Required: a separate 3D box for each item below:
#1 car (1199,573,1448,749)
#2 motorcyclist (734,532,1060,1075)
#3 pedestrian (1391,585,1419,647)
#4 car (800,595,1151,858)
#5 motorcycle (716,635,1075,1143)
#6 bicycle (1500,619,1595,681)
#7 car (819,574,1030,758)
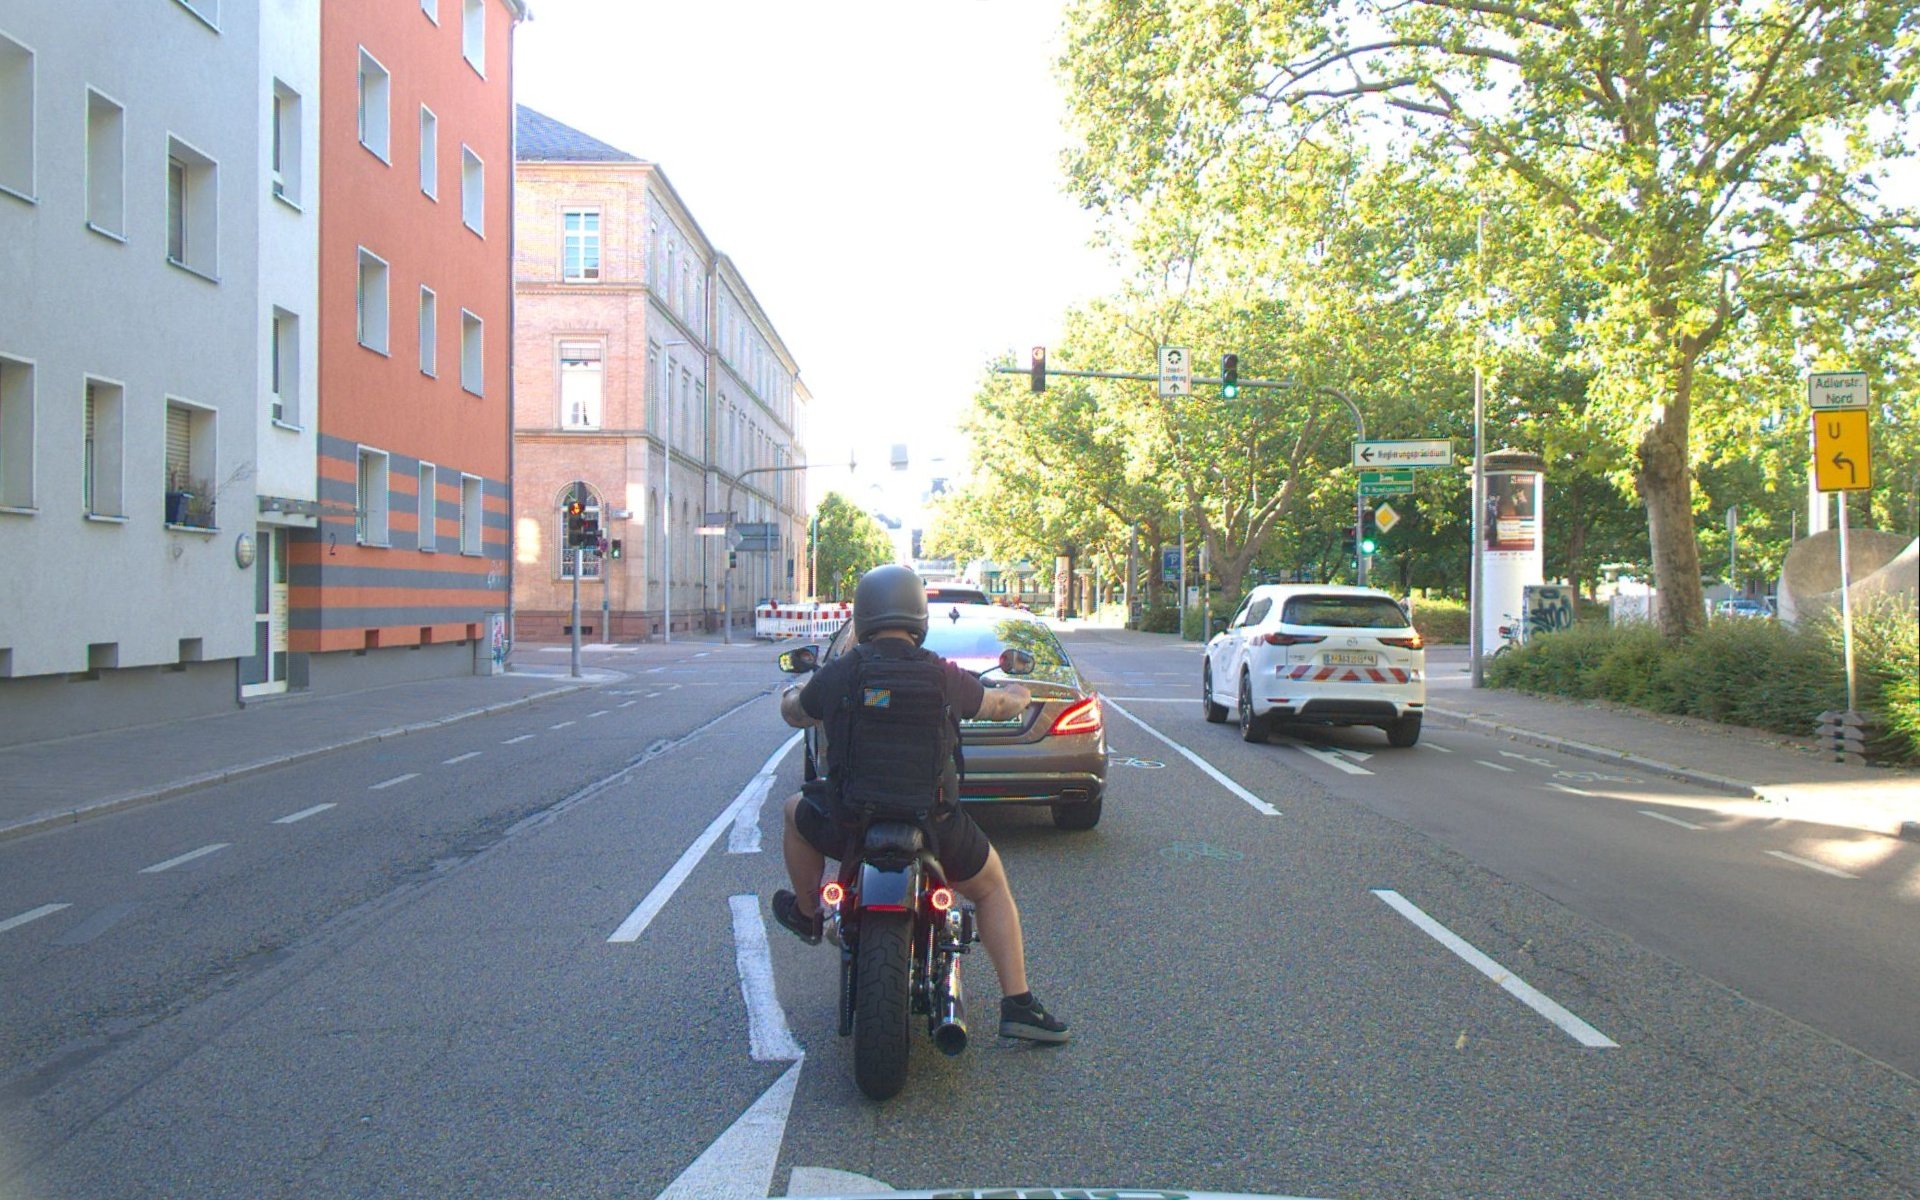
[{"bbox_3d":[4.007,0.604,19.009,1.903,1.738,4.483,2,0,1],"label":"car"},{"bbox_3d":[-0.195,0.601,5.528,0.961,1.606,1.248,0,0,-1],"label":"motorcyclist"},{"bbox_3d":[13.217,0.477,49.101,0.664,1.803,0.616,1,-1,29],"label":"pedestrian"},{"bbox_3d":[-0.110,0.707,11.616,1.834,1.469,4.422,0,0,-8],"label":"car"},{"bbox_3d":[-0.189,0.798,5.637,0.961,1.297,2.407,0,0,-1],"label":"motorcycle"},{"bbox_3d":[9.790,0.836,27.592,1.452,0.997,0.299,1,-1,5],"label":"bicycle"},{"bbox_3d":[-0.359,0.631,17.535,1.953,1.695,3.999,1,0,-1],"label":"car"}]
